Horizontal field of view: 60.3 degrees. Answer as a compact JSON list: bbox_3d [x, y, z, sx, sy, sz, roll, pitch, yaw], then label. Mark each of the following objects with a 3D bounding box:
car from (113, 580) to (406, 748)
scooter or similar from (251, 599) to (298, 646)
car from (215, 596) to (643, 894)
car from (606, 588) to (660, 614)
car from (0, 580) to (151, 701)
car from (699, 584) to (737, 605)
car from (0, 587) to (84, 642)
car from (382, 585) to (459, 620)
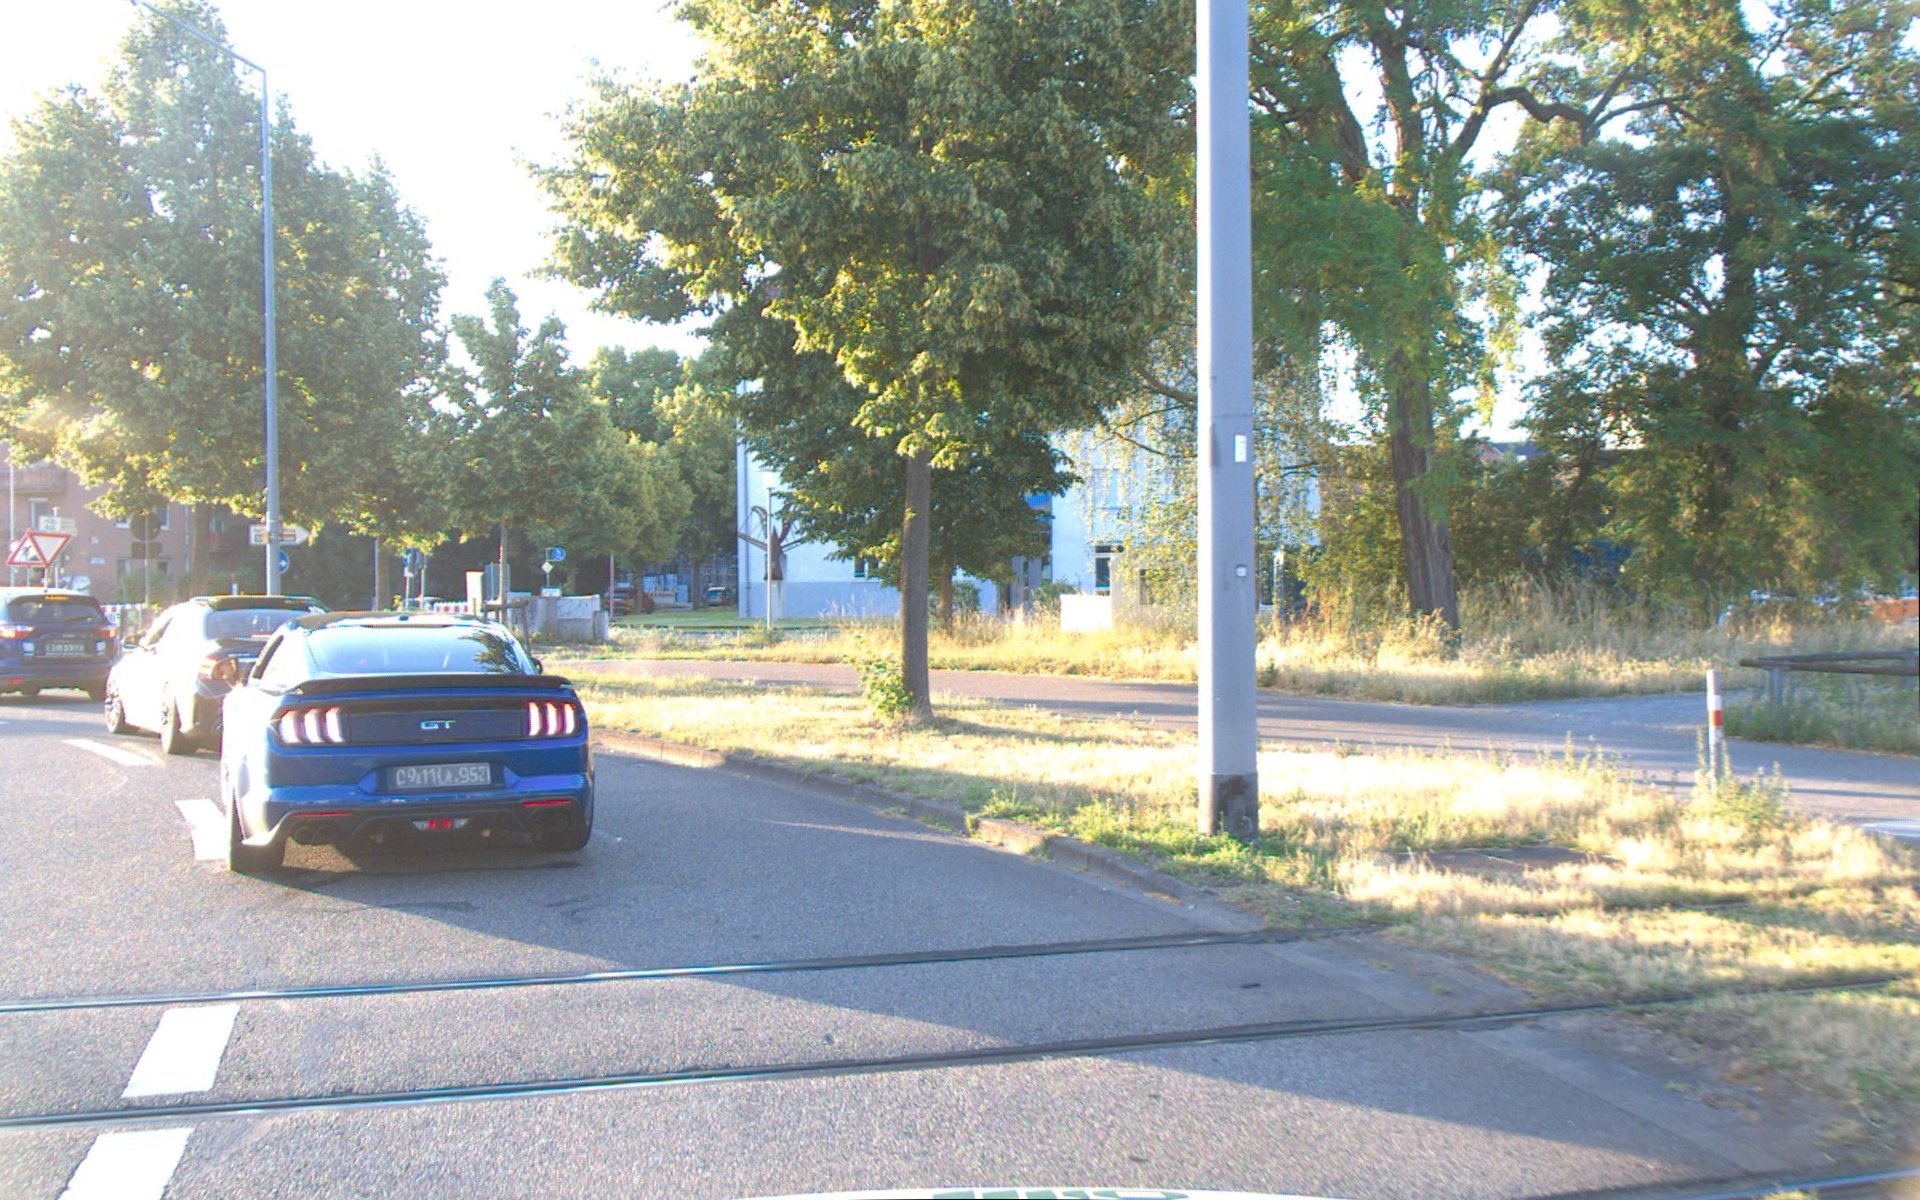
[{"bbox_3d":[-7.172,0.559,16.667,1.934,1.452,4.377,1,0,-34],"label":"car"},{"bbox_3d":[-18.614,0.607,44.912,1.115,1.260,0.435,-1,0,-44],"label":"scooter or similar"},{"bbox_3d":[-3.489,0.669,10.201,1.927,1.365,4.633,0,0,-25],"label":"car"},{"bbox_3d":[-19.196,0.031,97.211,1.836,1.426,3.920,-1,1,9],"label":"car"},{"bbox_3d":[-13.761,0.565,24.199,3.999,1.630,1.949,-1,-1,38],"label":"car"},{"bbox_3d":[-16.952,-0.411,116.006,1.836,1.426,3.919,-1,1,5],"label":"car"},{"bbox_3d":[-26.236,0.385,45.678,1.837,1.426,3.918,-1,1,2],"label":"car"},{"bbox_3d":[-23.544,0.108,72.307,1.836,1.426,3.919,-1,1,5],"label":"car"}]
